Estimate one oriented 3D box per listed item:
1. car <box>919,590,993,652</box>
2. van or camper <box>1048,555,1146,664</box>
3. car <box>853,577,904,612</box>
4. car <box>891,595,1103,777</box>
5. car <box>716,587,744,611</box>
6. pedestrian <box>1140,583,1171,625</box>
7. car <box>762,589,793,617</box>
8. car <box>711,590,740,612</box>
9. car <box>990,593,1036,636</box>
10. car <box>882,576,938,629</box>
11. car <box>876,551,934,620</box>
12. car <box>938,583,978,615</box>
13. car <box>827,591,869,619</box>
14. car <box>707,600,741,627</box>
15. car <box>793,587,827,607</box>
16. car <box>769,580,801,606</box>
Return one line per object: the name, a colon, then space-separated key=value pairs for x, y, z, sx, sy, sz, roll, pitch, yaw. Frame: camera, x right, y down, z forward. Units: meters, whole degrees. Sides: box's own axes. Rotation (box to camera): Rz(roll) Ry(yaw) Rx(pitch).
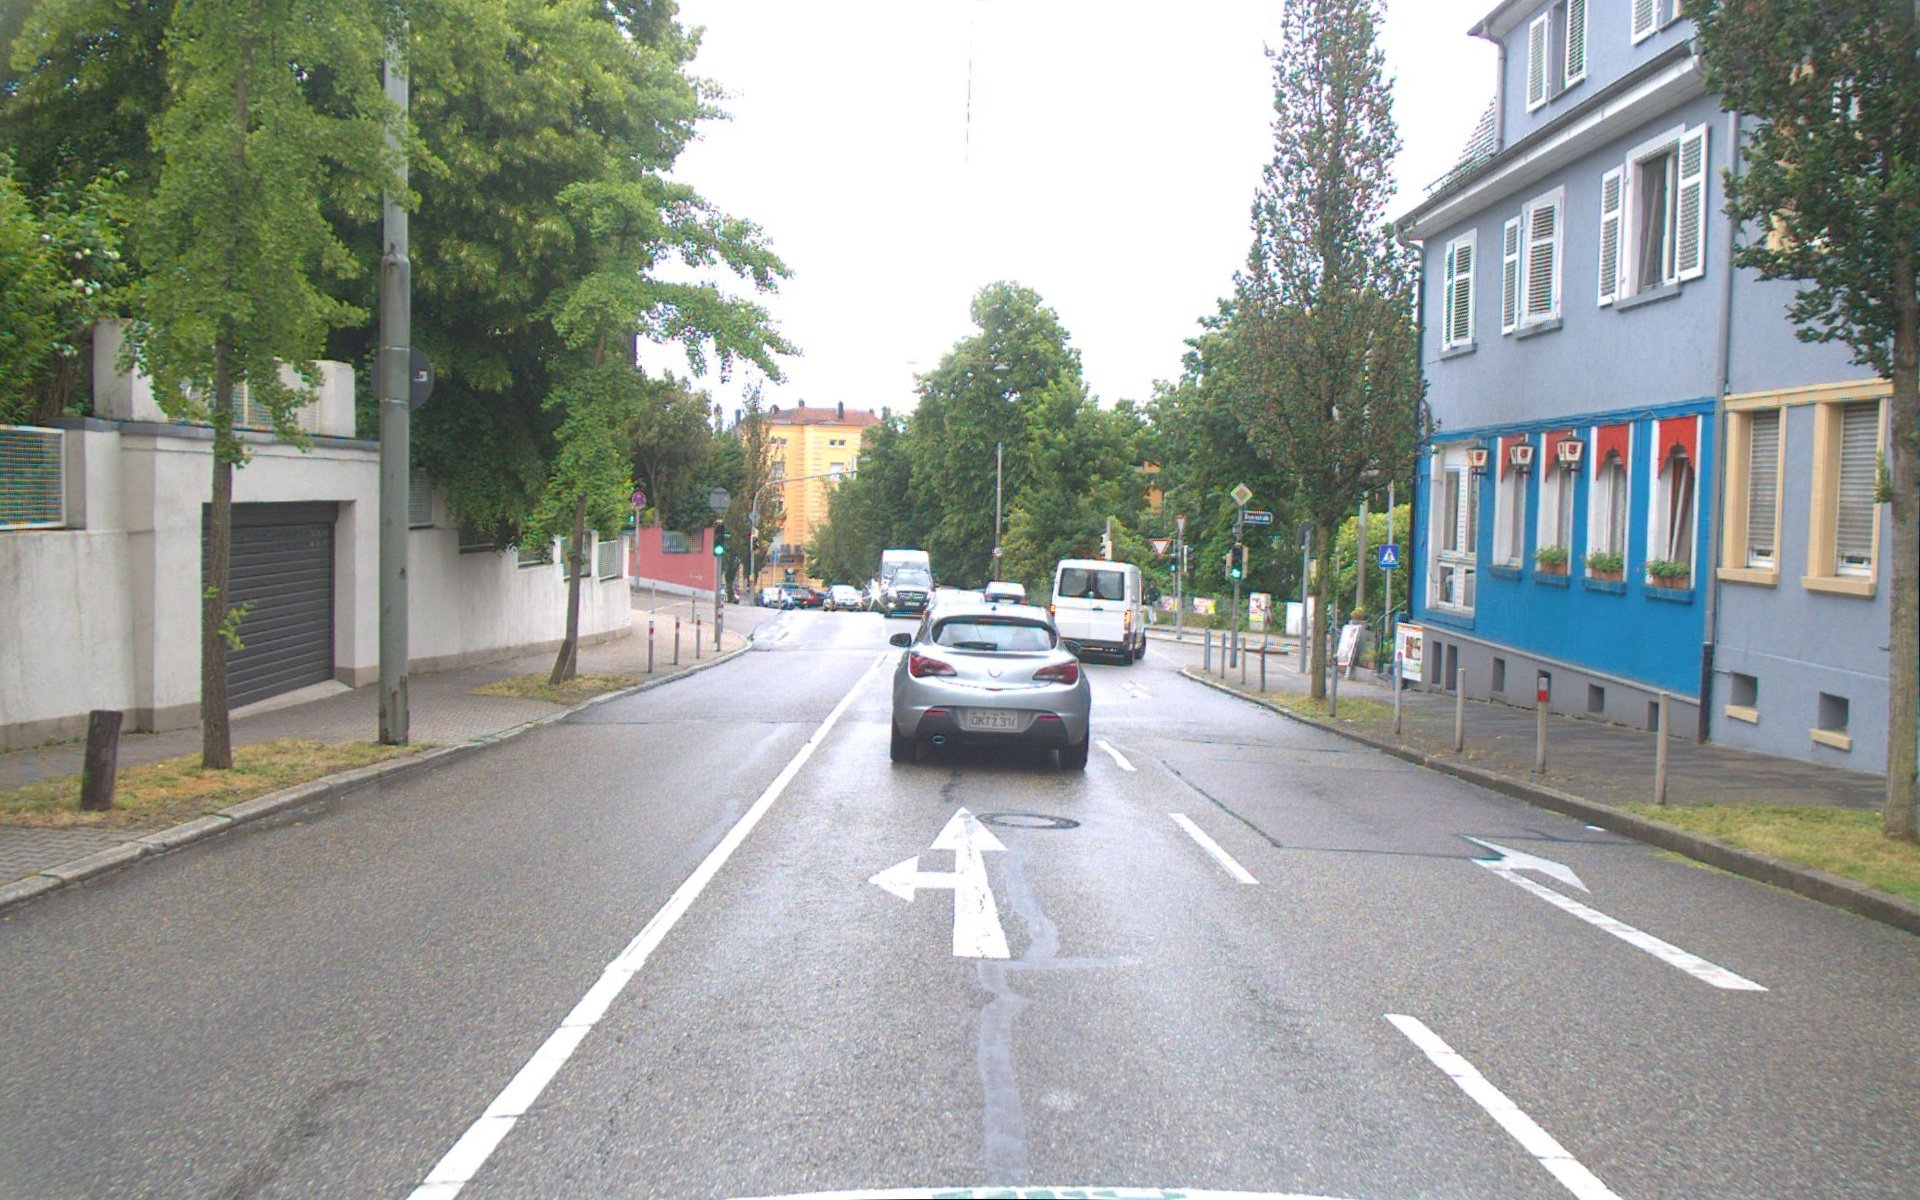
car: x=-0.128 y=0.546 z=40.882 sx=1.740 sy=1.455 sz=3.784 roll=0 pitch=-2 yaw=-1
van or camper: x=3.416 y=0.232 z=40.348 sx=2.059 sy=2.366 sz=5.421 roll=3 pitch=0 yaw=7
car: x=-3.982 y=-0.271 z=80.502 sx=1.841 sy=1.602 sz=4.574 roll=2 pitch=0 yaw=-11
car: x=0.301 y=0.732 z=16.228 sx=1.778 sy=1.454 sz=4.000 roll=2 pitch=1 yaw=-1
car: x=-20.323 y=-0.048 z=146.294 sx=1.960 sy=2.049 sz=3.984 roll=1 pitch=-1 yaw=-15
pedestrian: x=7.702 y=0.143 z=65.075 sx=0.758 sy=1.633 sz=0.955 roll=-1 pitch=0 yaw=-31
car: x=-11.197 y=0.143 z=101.638 sx=1.817 sy=1.512 sz=5.361 roll=1 pitch=2 yaw=-6
car: x=-19.109 y=0.070 z=134.552 sx=1.814 sy=1.611 sz=4.264 roll=5 pitch=-1 yaw=-13
car: x=1.821 y=0.474 z=57.744 sx=1.355 sy=1.436 sz=3.455 roll=1 pitch=0 yaw=-3
car: x=-1.765 y=0.063 z=57.611 sx=1.785 sy=1.680 sz=4.344 roll=3 pitch=1 yaw=-3
car: x=-2.242 y=-0.549 z=66.124 sx=2.075 sy=2.590 sz=5.535 roll=1 pitch=0 yaw=-4
car: x=-0.118 y=-0.027 z=81.022 sx=1.589 sy=1.512 sz=3.431 roll=1 pitch=-1 yaw=-6
car: x=-6.348 y=0.269 z=93.428 sx=1.742 sy=1.523 sz=4.250 roll=1 pitch=0 yaw=-12
car: x=-15.140 y=0.873 z=106.027 sx=1.783 sy=1.641 sz=3.986 roll=3 pitch=-1 yaw=-13
car: x=-12.400 y=-0.236 z=136.351 sx=1.788 sy=1.493 sz=3.977 roll=-4 pitch=1 yaw=-19
car: x=-13.479 y=-0.526 z=127.303 sx=1.753 sy=1.887 sz=3.981 roll=2 pitch=-1 yaw=-17
